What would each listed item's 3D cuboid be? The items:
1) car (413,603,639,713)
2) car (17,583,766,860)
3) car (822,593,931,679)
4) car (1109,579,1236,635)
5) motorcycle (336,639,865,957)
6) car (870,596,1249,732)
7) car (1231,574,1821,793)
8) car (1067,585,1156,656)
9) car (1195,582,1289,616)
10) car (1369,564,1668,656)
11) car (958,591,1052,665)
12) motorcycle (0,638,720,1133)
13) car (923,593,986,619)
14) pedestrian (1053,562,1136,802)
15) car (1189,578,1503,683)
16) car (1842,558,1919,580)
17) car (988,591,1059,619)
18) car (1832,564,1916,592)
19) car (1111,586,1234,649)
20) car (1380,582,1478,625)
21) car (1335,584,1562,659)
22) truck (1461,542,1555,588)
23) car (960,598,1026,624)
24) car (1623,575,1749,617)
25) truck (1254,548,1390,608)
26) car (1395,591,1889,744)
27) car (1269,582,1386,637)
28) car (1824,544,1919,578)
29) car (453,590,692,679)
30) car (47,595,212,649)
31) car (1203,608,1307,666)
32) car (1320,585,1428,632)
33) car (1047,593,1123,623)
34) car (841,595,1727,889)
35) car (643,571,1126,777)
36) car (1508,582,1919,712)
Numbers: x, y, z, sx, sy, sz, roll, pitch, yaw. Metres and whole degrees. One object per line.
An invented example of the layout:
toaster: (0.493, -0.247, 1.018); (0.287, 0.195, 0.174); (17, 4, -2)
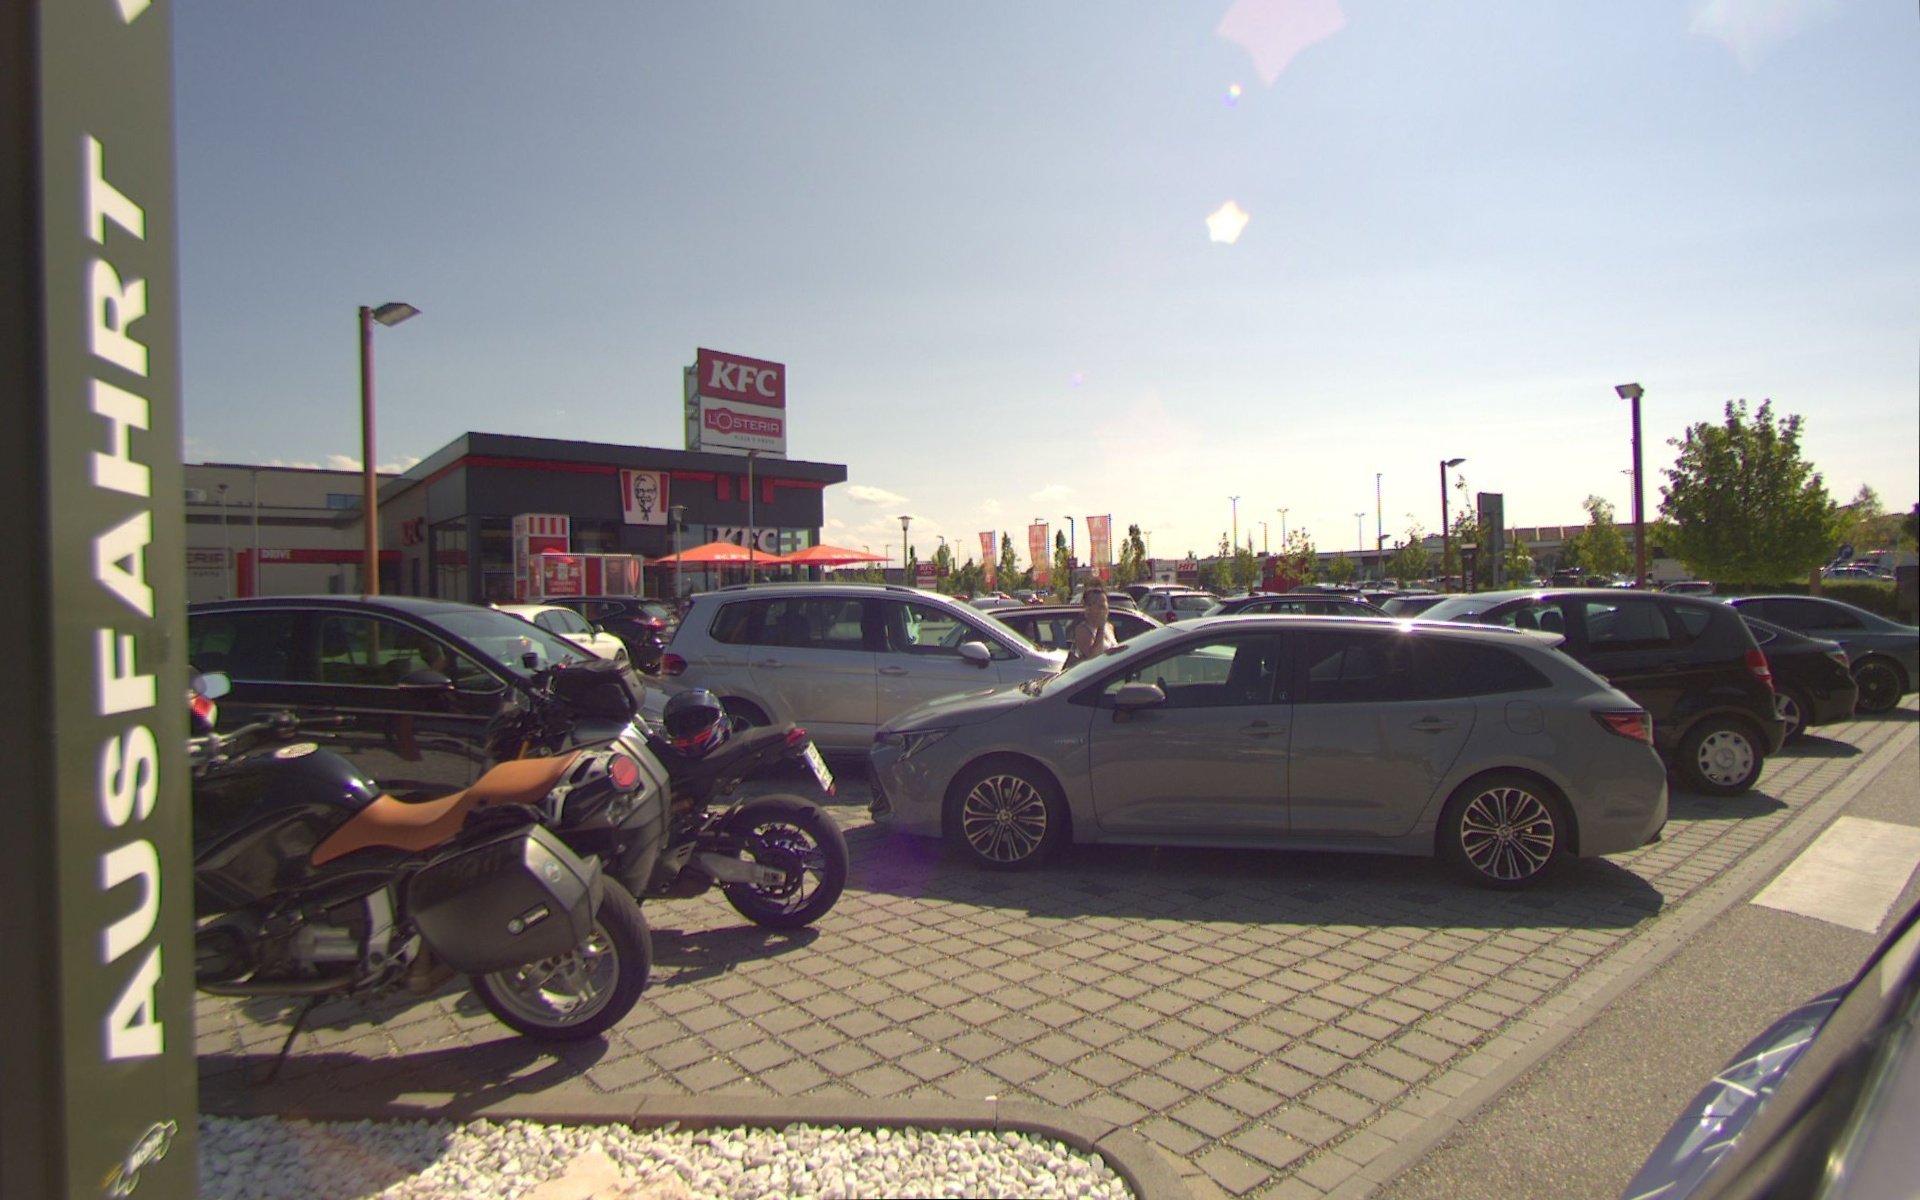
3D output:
car: (-6.672, 0.810, 16.089); (1.809, 1.443, 4.186); (-1, 0, 0)
car: (-3.587, 0.690, 6.861); (4.117, 1.556, 1.893); (0, 0, 6)
car: (-1.540, 0.617, 20.217); (1.877, 1.490, 4.473); (-1, 0, -1)
car: (7.313, 0.192, 34.649); (4.291, 1.772, 2.069); (-1, 0, -40)
motorcycle: (-1.497, 0.818, 4.553); (2.099, 1.247, 0.821); (0, -1, -3)
car: (1.078, 0.685, 11.685); (4.008, 1.426, 1.792); (-1, 0, 3)
car: (4.503, 0.646, 8.611); (3.929, 1.613, 1.810); (-1, 0, 5)
car: (3.529, 0.431, 24.160); (1.788, 1.508, 3.995); (-1, 0, 4)
car: (12.746, -0.048, 45.738); (4.075, 1.416, 1.889); (-1, 0, -34)
car: (10.146, 0.174, 18.700); (4.339, 1.530, 1.981); (-1, 0, 5)
car: (0.889, 0.540, 21.931); (1.786, 1.420, 4.000); (-1, 0, 0)
motorcycle: (-2.006, 0.776, 3.249); (2.210, 1.267, 1.070); (0, -1, 1)
car: (-0.341, 0.371, 64.852); (3.683, 1.530, 1.688); (-1, 0, -34)
pedestrian: (1.034, 0.595, 7.695); (0.555, 1.734, 0.608); (-1, 0, 12)
car: (6.101, 0.471, 16.472); (4.339, 1.530, 1.981); (-1, 0, 5)
car: (63.573, -2.125, 69.794); (1.637, 1.359, 3.901); (-1, 0, -41)
car: (3.563, 0.251, 56.734); (3.683, 1.472, 1.688); (-1, 0, -34)
car: (59.937, -1.433, 66.427); (1.864, 1.750, 3.988); (-1, 0, -45)
car: (5.614, 0.428, 27.332); (1.742, 1.530, 4.359); (-1, 0, -9)
car: (16.881, 0.094, 36.646); (1.878, 1.440, 3.773); (-1, 0, 2)
car: (9.996, 0.422, 20.950); (3.836, 1.444, 1.703); (-1, 0, 7)
truck: (42.870, -2.662, 79.439); (2.373, 3.393, 7.577); (-1, 1, -8)
car: (1.977, 0.629, 60.838); (3.683, 1.472, 1.688); (-1, 0, -34)
car: (37.995, -0.213, 53.068); (1.965, 2.039, 5.016); (-2, 1, -39)
truck: (25.159, -1.476, 70.921); (3.146, 3.915, 9.140); (-1, 0, -29)
car: (7.126, 0.674, 10.973); (4.004, 1.467, 1.826); (-1, 0, 5)
car: (11.376, 0.275, 31.621); (1.770, 1.576, 4.060); (-1, 0, -6)
car: (65.794, -2.759, 71.786); (2.261, 2.272, 6.560); (-1, 0, -41)
car: (-7.519, 0.653, 19.838); (4.014, 1.596, 1.755); (-1, 0, 6)
car: (-28.928, 0.713, 35.351); (4.313, 1.706, 1.637); (-1, 0, -45)
car: (8.303, 0.988, 28.922); (1.681, 1.428, 4.680); (-1, 0, 2)
car: (13.848, 0.263, 34.110); (1.762, 1.440, 4.089); (-1, 0, -3)
car: (6.448, 0.392, 52.209); (3.683, 1.472, 1.688); (-1, 0, -34)
car: (1.705, 0.717, 6.306); (4.581, 1.465, 1.832); (0, 0, 6)
car: (-0.601, 0.610, 9.195); (3.995, 1.660, 1.746); (-1, 0, 5)
car: (10.056, 0.580, 13.419); (4.462, 1.530, 1.885); (-1, 0, 5)
